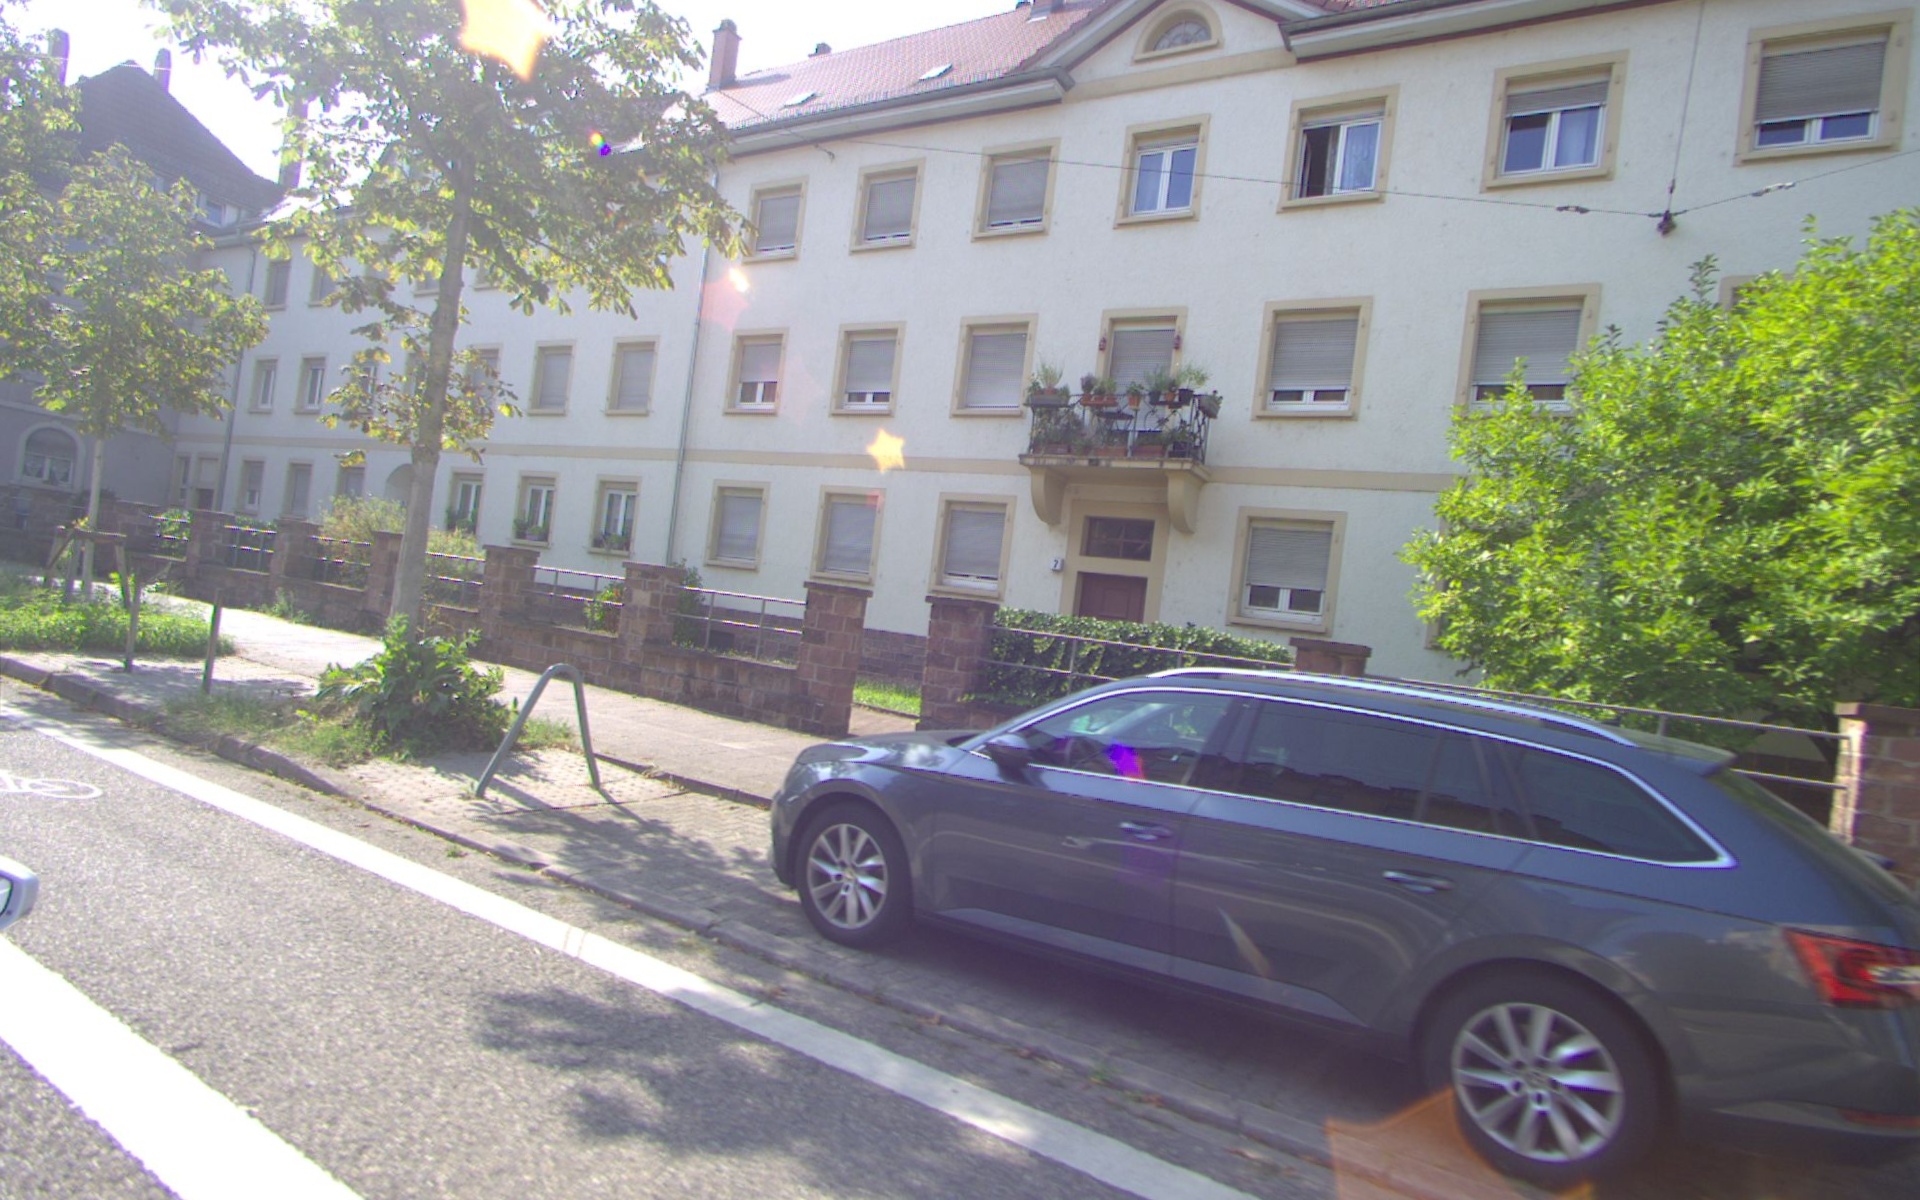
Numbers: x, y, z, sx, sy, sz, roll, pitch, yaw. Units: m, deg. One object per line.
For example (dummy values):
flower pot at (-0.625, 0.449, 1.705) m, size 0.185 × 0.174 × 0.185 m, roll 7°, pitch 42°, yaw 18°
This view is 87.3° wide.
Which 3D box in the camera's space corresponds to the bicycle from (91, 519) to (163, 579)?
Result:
bicycle at (-18.555, -1.145, 22.403) m, size 1.965 × 1.117 × 0.425 m, roll 7°, pitch 0°, yaw 28°

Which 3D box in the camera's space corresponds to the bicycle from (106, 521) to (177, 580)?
bicycle at (-18.404, -1.122, 22.610) m, size 1.965 × 1.117 × 0.425 m, roll 7°, pitch 0°, yaw 28°

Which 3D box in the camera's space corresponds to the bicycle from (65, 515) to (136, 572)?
bicycle at (-20.114, -1.330, 23.531) m, size 1.841 × 1.117 × 0.539 m, roll 7°, pitch 0°, yaw 28°

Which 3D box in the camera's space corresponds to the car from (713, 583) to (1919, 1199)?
car at (1.272, 0.990, 4.533) m, size 4.640 × 1.579 × 1.746 m, roll 6°, pitch -1°, yaw 31°
